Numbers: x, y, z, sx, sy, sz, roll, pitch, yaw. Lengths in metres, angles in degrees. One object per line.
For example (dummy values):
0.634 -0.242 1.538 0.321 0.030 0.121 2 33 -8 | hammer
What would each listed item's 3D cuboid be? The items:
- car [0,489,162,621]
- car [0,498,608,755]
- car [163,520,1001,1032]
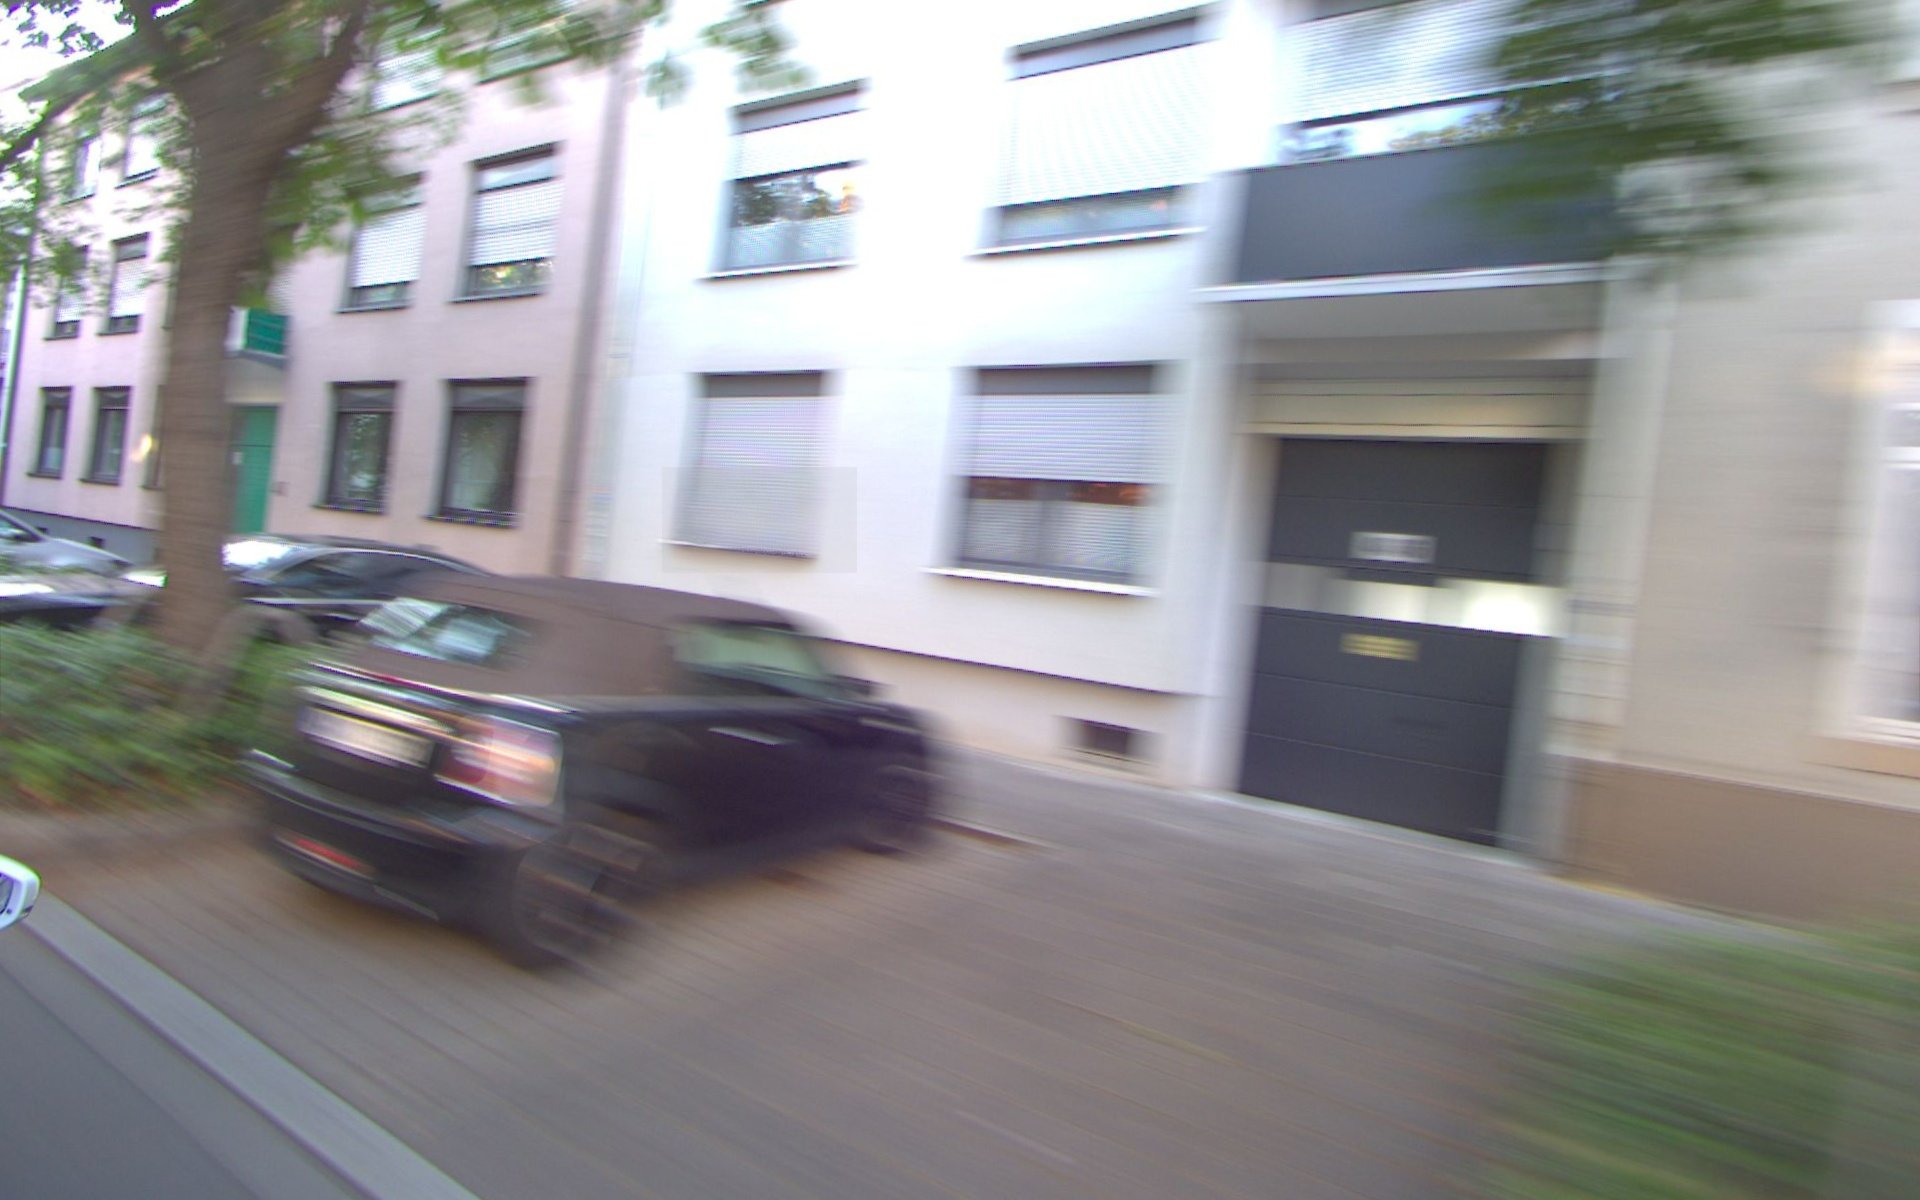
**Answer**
-12.195 -0.662 11.867 1.816 1.458 3.882 7 1 29 | car
-5.400 0.181 7.850 2.002 1.439 4.716 7 1 32 | car
-1.488 0.611 5.098 1.867 1.471 3.488 7 1 30 | car
